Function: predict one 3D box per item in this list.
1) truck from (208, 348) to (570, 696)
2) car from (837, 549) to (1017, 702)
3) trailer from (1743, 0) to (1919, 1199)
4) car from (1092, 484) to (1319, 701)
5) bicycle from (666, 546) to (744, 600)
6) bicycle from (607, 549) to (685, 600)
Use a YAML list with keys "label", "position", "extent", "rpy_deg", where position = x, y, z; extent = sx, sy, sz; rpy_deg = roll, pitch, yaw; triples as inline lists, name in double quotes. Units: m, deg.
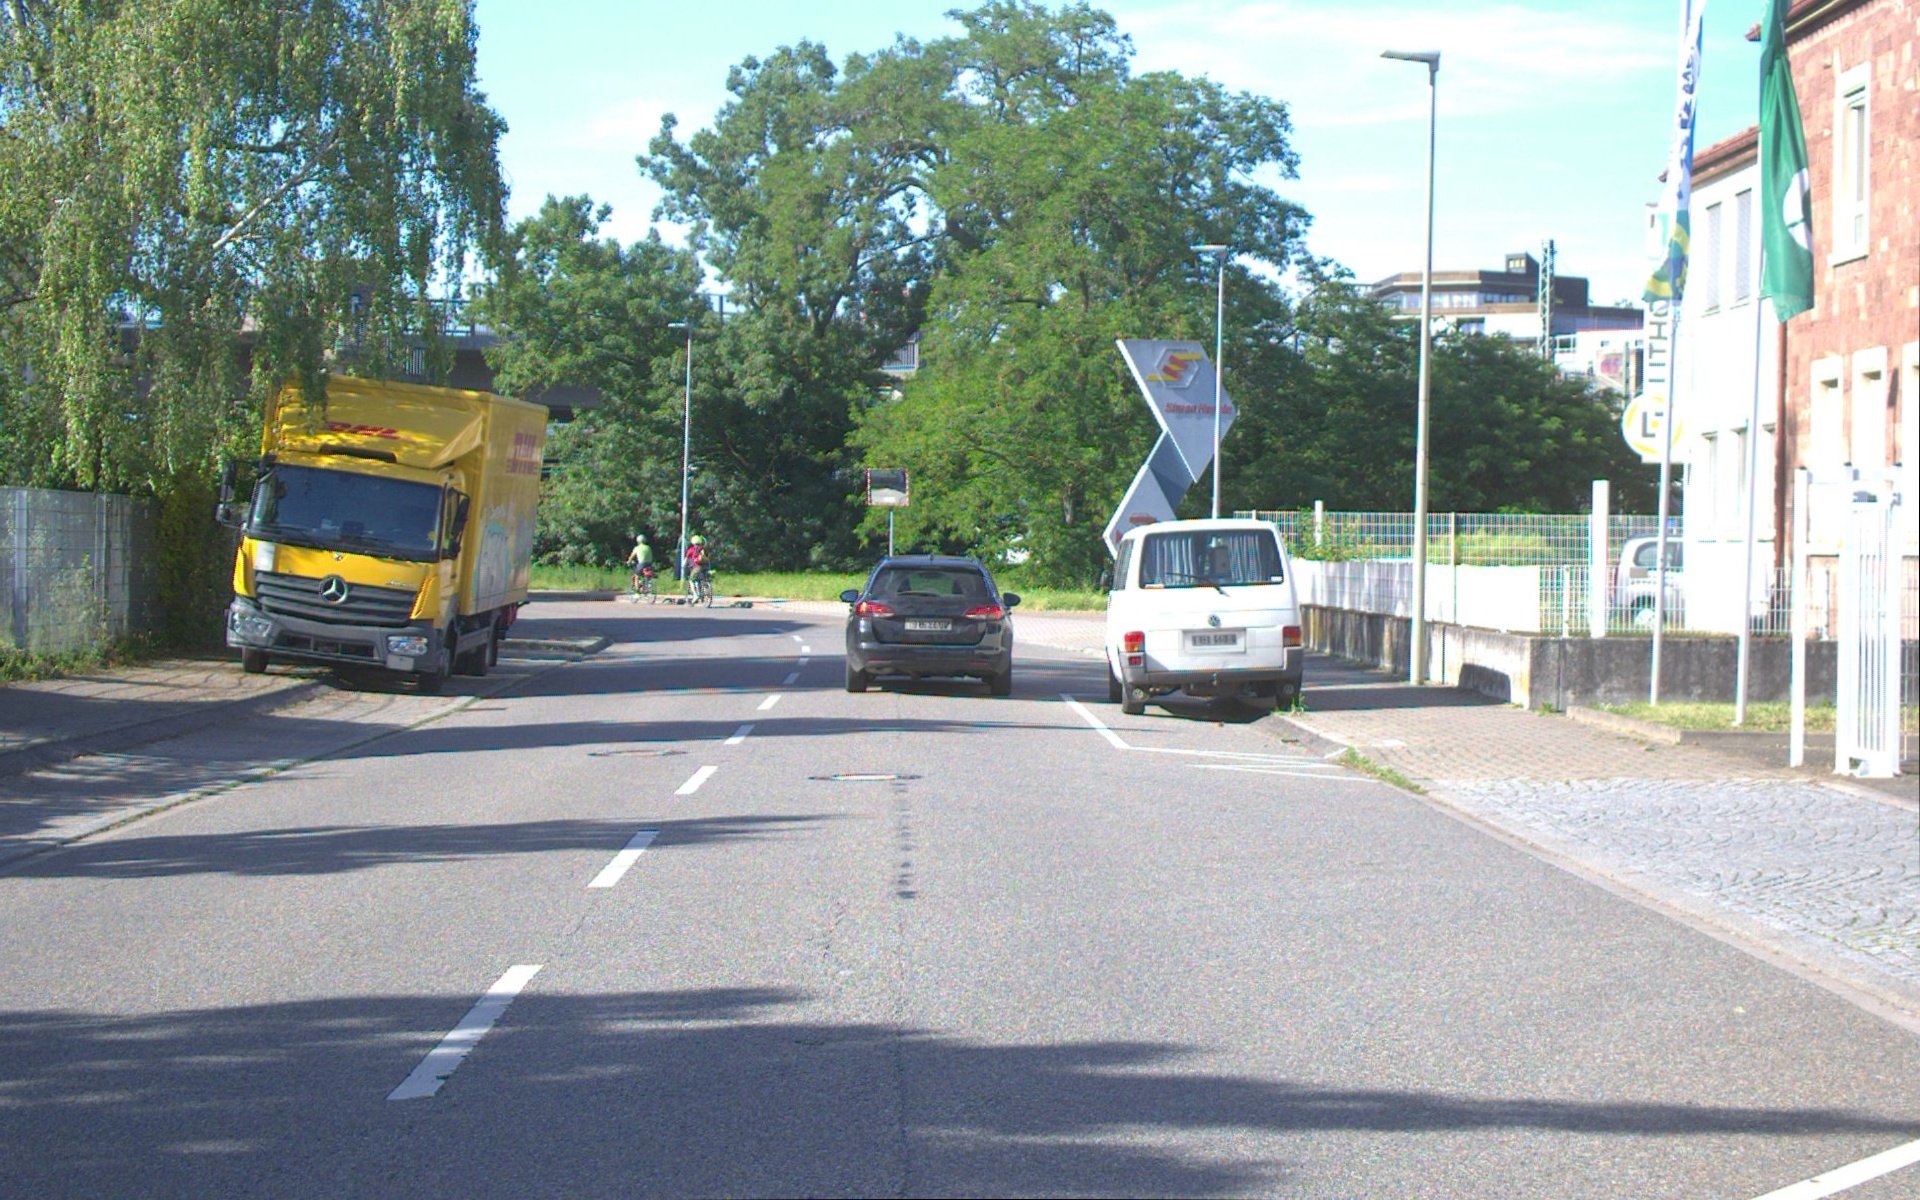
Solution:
- label: "truck"
  position: [-6.658, -1.014, 41.441]
  extent: [2.631, 3.493, 8.658]
  rpy_deg: [6, 2, -1]
- label: "car"
  position: [-0.340, 0.232, 37.383]
  extent: [1.847, 1.525, 4.000]
  rpy_deg: [0, 1, 0]
- label: "trailer"
  position: [3.142, 0.163, 5.333]
  extent: [2.460, 2.663, 5.702]
  rpy_deg: [0, 1, -1]
- label: "car"
  position: [2.440, -0.110, 35.385]
  extent: [1.874, 2.007, 5.161]
  rpy_deg: [2, 1, 0]
- label: "bicycle"
  position: [-6.245, -0.667, 83.991]
  extent: [0.803, 1.263, 2.258]
  rpy_deg: [1, 1, -35]
- label: "bicycle"
  position: [-8.014, -0.655, 87.632]
  extent: [0.804, 1.217, 2.258]
  rpy_deg: [1, 1, -40]
